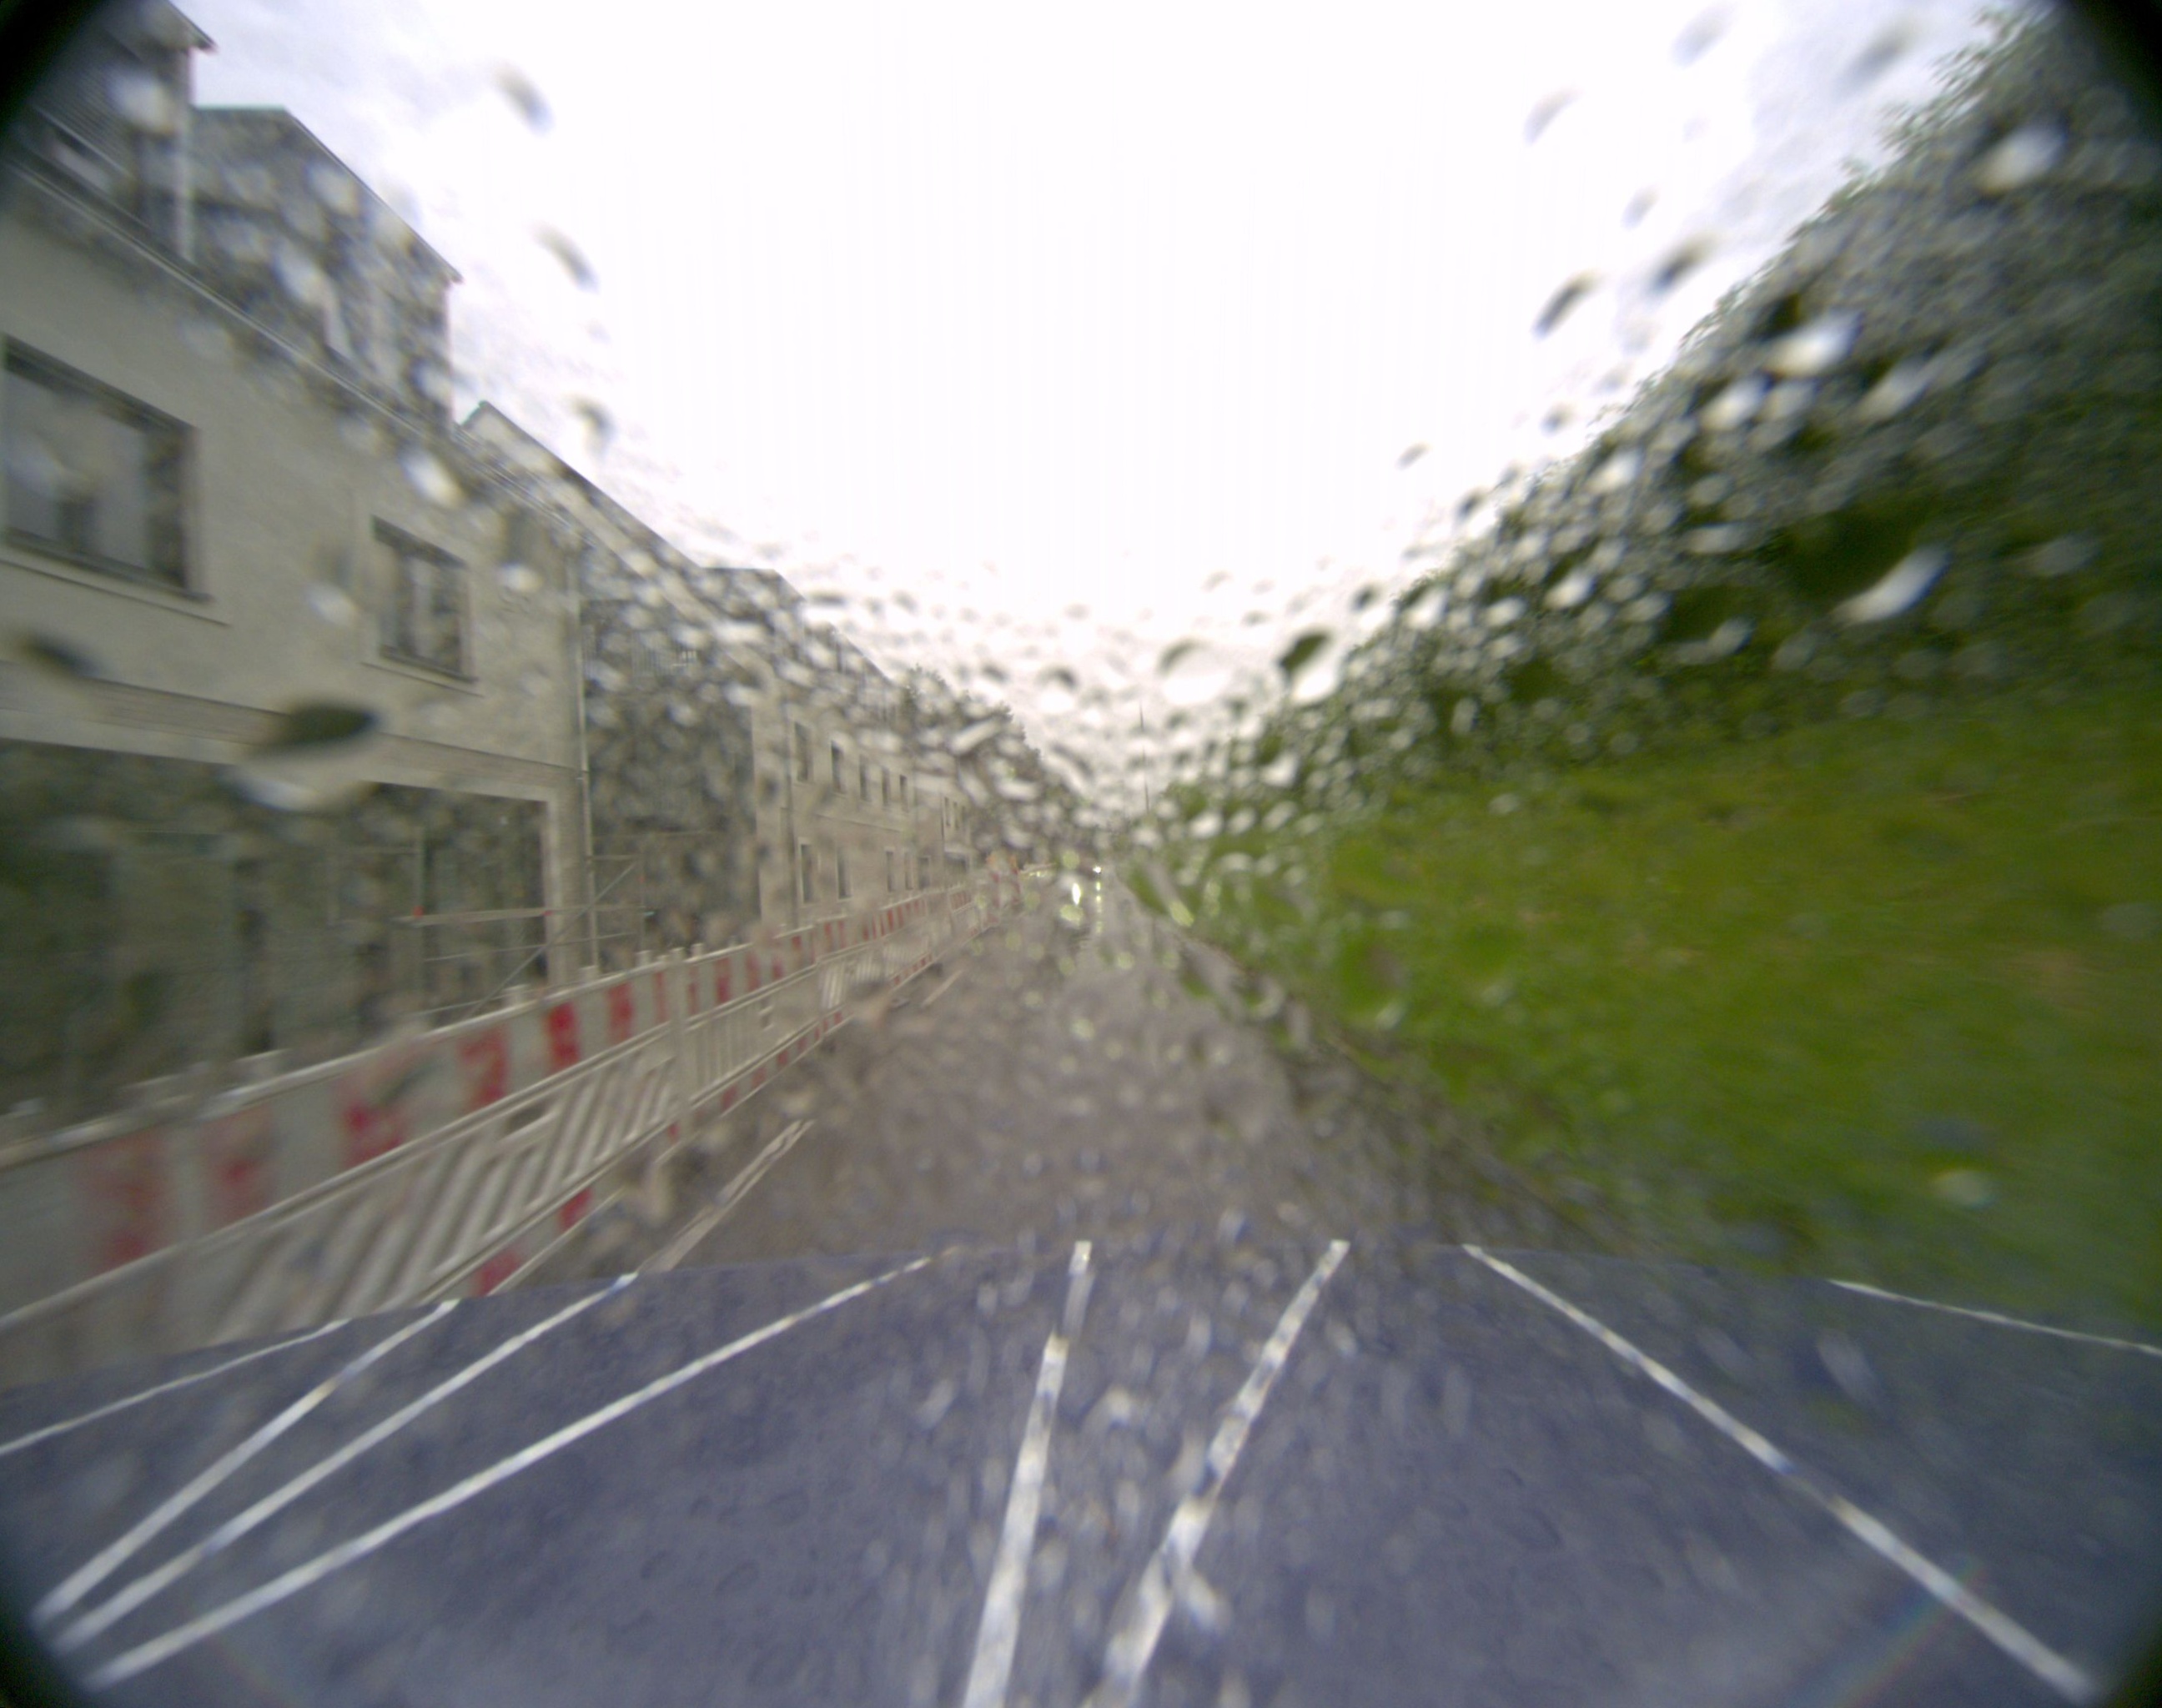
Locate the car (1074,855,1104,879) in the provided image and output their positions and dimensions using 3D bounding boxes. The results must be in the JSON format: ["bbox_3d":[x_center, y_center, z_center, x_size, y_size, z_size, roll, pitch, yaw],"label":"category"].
[{"bbox_3d":[0.536,0.831,50.057,1.851,1.444,4.531,-2,1,1],"label":"car"}]

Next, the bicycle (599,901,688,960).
[{"bbox_3d":[-9.322,1.603,16.226,0.488,1.071,1.537,-1,1,40],"label":"bicycle"}]

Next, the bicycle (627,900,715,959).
[{"bbox_3d":[-8.696,1.584,16.170,0.488,1.071,1.537,-1,1,40],"label":"bicycle"}]

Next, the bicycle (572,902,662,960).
[{"bbox_3d":[-9.939,1.622,16.322,0.488,1.071,1.537,-1,1,40],"label":"bicycle"}]

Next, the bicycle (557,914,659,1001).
[{"bbox_3d":[-6.973,1.489,11.294,0.489,1.047,1.654,-2,1,-2],"label":"bicycle"}]

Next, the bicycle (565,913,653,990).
[{"bbox_3d":[-7.728,1.566,12.510,0.489,1.047,1.533,-2,1,-2],"label":"bicycle"}]

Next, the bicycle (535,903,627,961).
[{"bbox_3d":[-10.681,1.645,16.272,0.488,1.071,1.537,-1,1,40],"label":"bicycle"}]

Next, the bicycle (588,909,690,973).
[{"bbox_3d":[-7.939,1.558,13.675,1.533,1.047,0.450,-2,1,1],"label":"bicycle"}]

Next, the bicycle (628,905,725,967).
[{"bbox_3d":[-7.698,1.547,14.504,1.535,1.047,0.449,-2,1,-18],"label":"bicycle"}]
